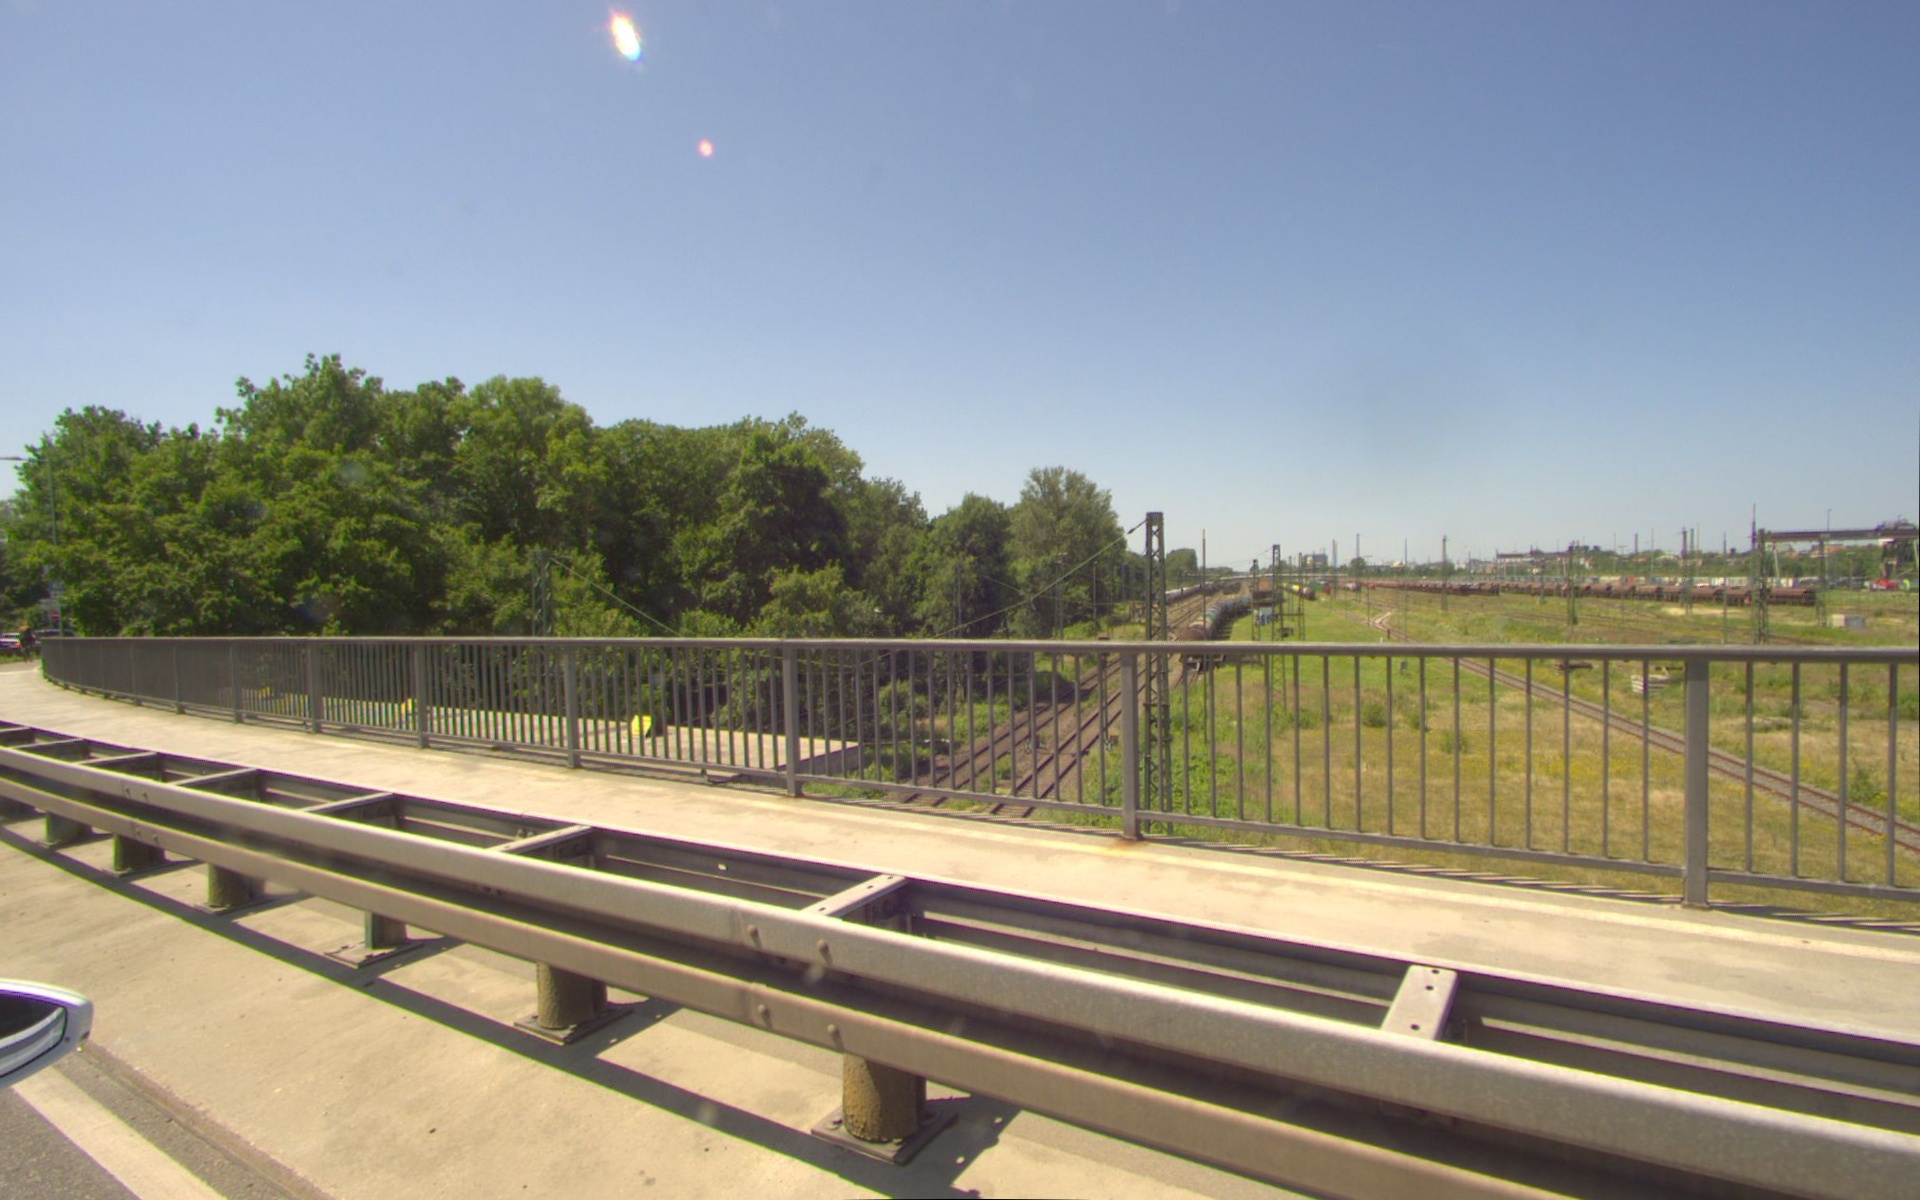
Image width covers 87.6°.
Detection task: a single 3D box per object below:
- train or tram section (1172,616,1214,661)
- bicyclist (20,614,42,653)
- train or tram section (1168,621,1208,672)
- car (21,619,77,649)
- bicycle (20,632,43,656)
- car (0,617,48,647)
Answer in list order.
[{"bbox_3d":[28.121,4.466,120.349,3.783,4.366,13.604,-2,1,17],"label":"train or tram section"},{"bbox_3d":[-41.208,1.479,44.401,0.721,1.706,0.574,0,3,42],"label":"bicyclist"},{"bbox_3d":[24.532,4.857,107.178,3.781,4.366,13.612,-2,1,14],"label":"train or tram section"},{"bbox_3d":[-56.601,2.116,62.309,1.666,1.783,3.982,0,-2,-29],"label":"car"},{"bbox_3d":[-41.183,1.941,44.396,1.468,1.049,0.578,-1,2,43],"label":"bicycle"},{"bbox_3d":[-53.380,1.831,56.496,1.972,1.594,3.981,2,-4,-31],"label":"car"}]
